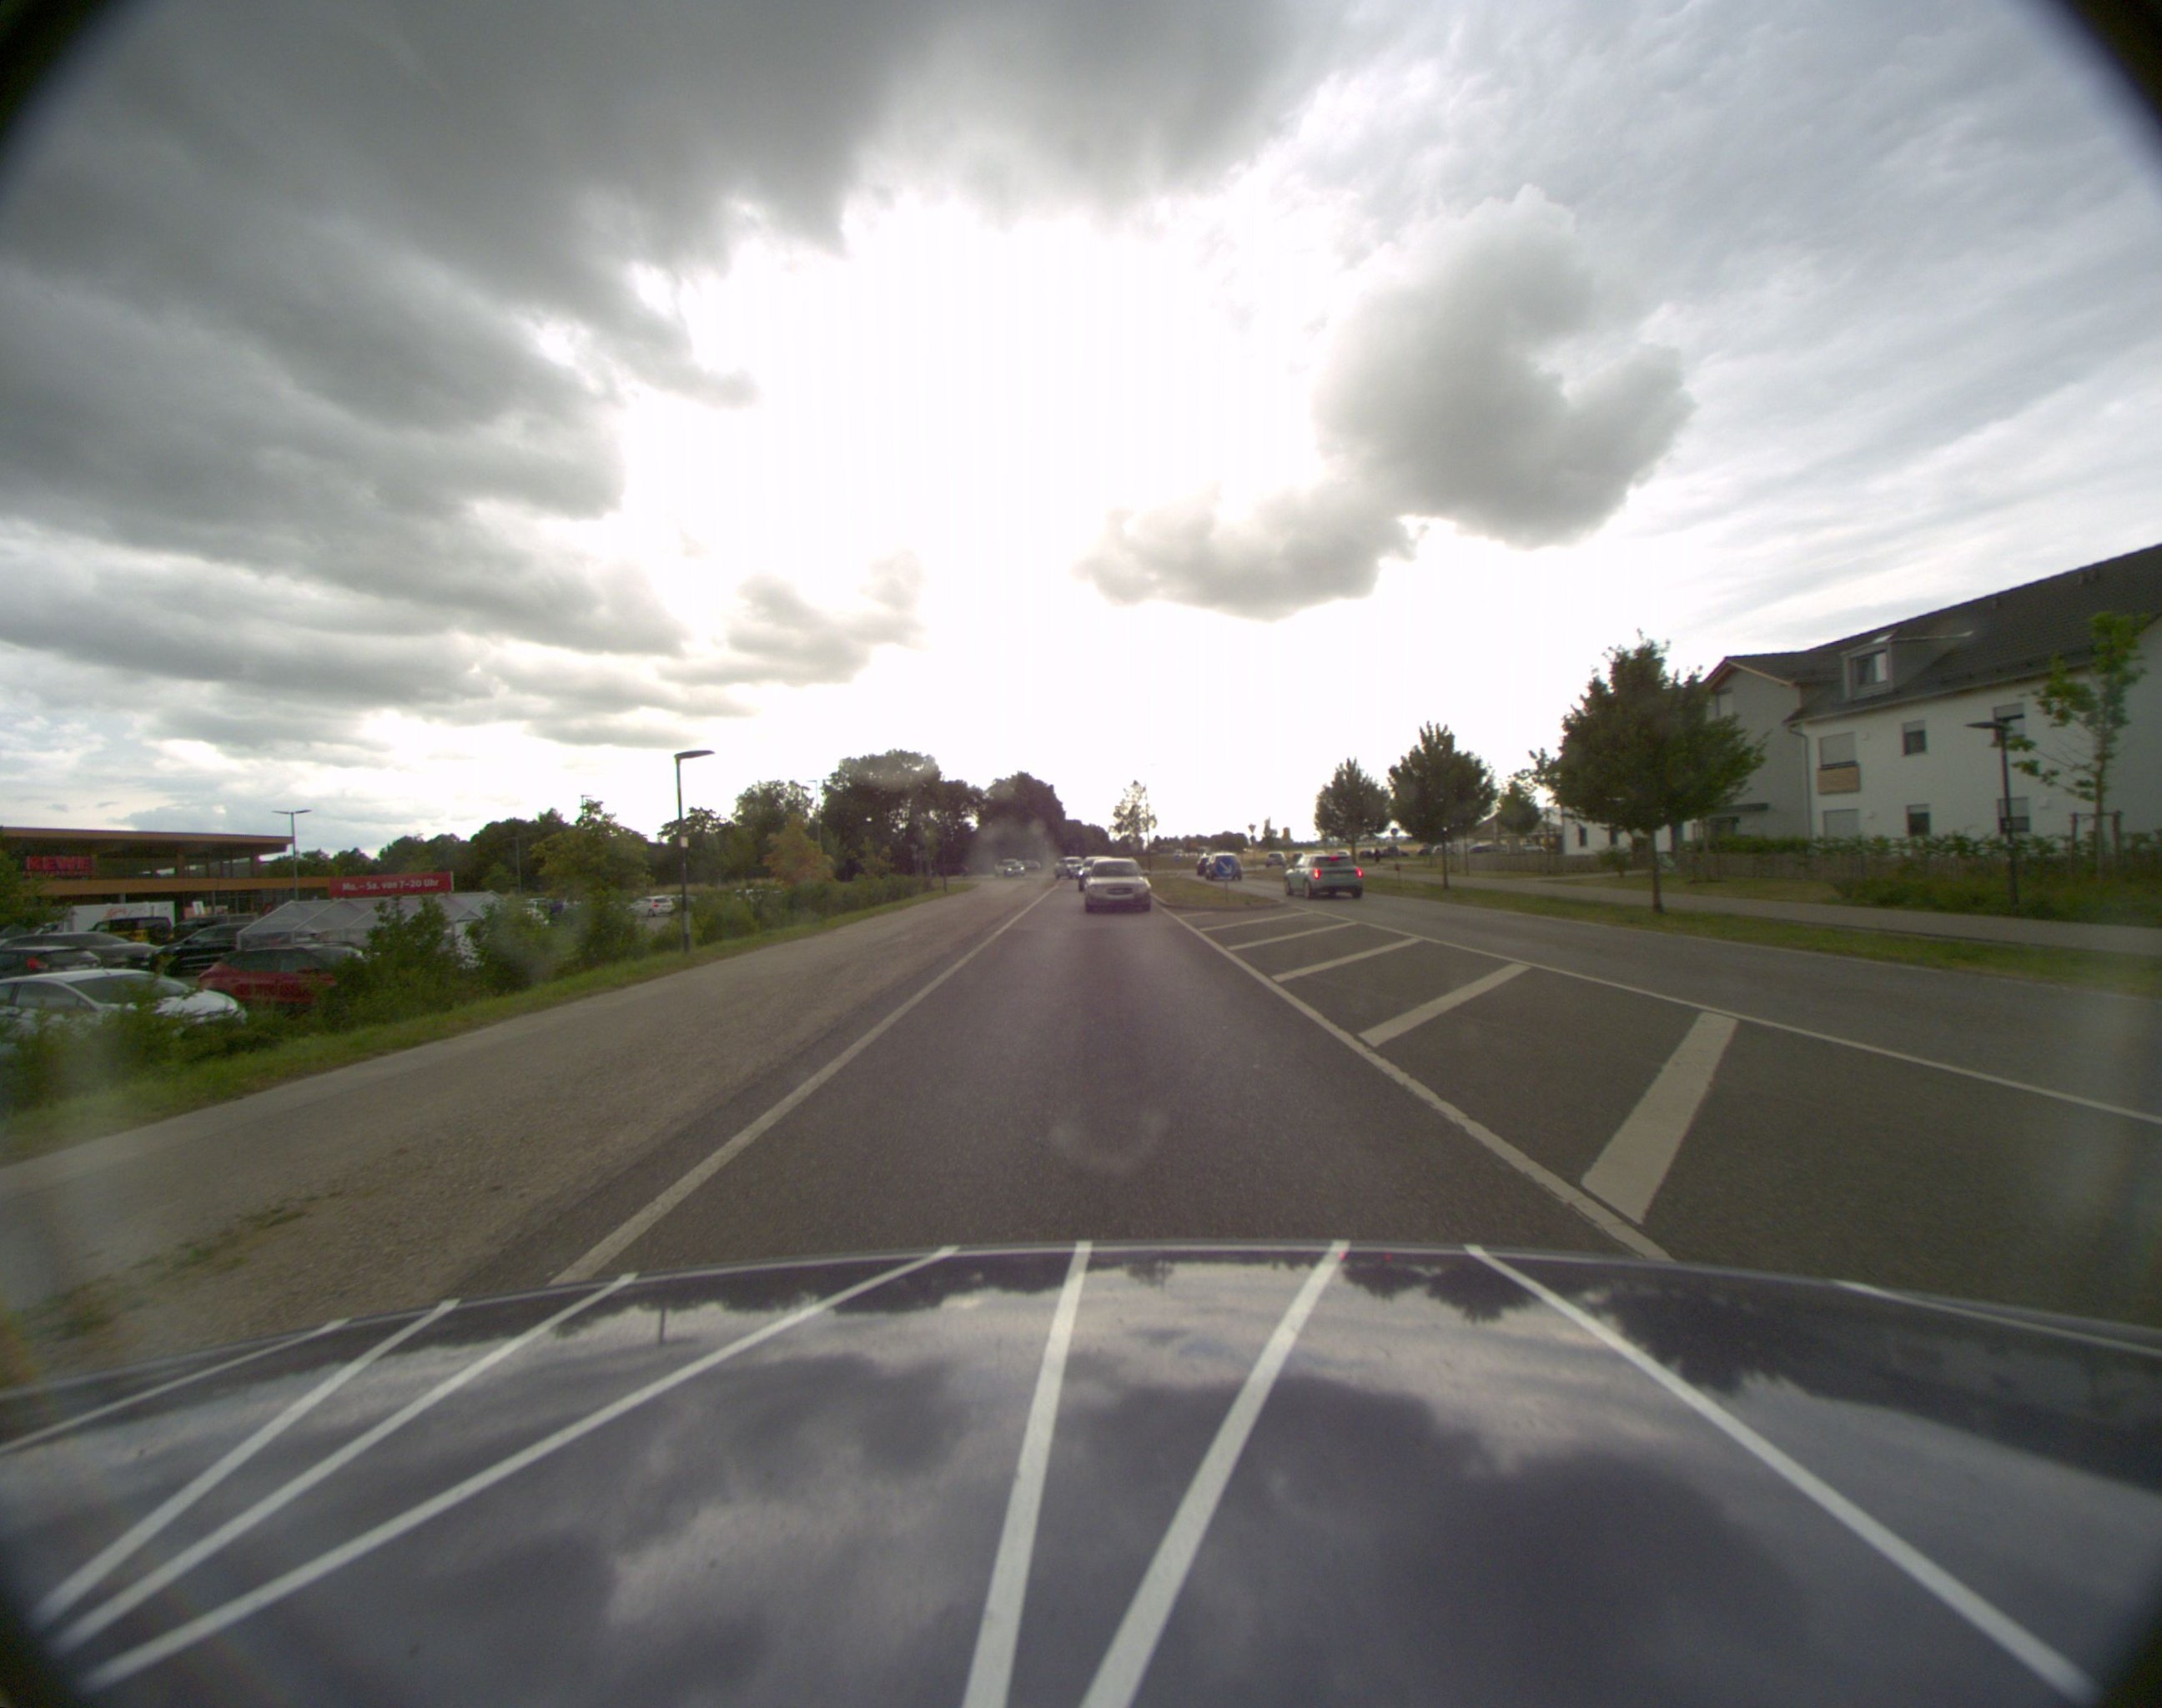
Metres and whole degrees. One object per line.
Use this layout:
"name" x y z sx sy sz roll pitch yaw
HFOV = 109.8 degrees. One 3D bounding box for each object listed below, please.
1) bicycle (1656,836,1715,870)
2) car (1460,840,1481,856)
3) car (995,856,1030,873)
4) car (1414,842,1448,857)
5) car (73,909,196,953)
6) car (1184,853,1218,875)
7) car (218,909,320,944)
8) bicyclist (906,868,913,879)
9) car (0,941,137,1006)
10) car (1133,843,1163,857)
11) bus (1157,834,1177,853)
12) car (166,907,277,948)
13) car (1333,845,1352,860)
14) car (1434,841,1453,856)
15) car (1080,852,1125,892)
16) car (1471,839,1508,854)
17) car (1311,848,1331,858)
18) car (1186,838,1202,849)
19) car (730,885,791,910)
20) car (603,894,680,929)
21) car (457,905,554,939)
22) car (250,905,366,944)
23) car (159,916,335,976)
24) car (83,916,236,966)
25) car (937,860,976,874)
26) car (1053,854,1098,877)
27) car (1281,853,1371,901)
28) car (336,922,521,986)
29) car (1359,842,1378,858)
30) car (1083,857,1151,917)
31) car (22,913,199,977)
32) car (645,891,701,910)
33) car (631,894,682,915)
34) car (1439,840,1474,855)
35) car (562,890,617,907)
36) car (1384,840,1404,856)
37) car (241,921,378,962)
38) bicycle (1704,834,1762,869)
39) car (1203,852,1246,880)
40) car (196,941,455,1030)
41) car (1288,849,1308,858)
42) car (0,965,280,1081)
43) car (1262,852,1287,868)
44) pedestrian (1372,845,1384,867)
"bicycle" 26.026 -0.026 32.758 0.684 1.404 2.344 -1 0 1
"car" 49.854 -0.771 97.127 2.226 2.002 4.007 -1 0 29
"car" -6.298 0.966 69.530 2.003 1.510 3.763 -1 0 -26
"car" 50.812 -0.652 110.289 4.001 2.002 1.998 -1 0 -11
"car" -48.107 3.881 38.679 3.995 2.002 2.001 -1 0 5
"car" 8.717 0.694 55.427 1.830 1.480 4.350 -1 0 1
"car" -48.361 4.312 45.301 3.995 1.837 2.072 -1 0 5
"bicyclist" -19.882 2.224 88.018 0.657 1.236 0.556 -1 0 41
"car" -29.385 3.341 21.010 3.997 1.433 2.000 -3 0 0
"car" 8.875 -0.523 100.455 1.994 1.674 4.008 -1 0 38
"bus" 15.030 -1.793 133.289 2.990 3.261 6.486 -1 0 3
"car" -47.578 4.042 42.105 3.995 2.002 2.072 -1 0 5
"car" 35.501 -0.189 102.995 1.995 2.002 4.007 -1 0 26
"car" 47.511 -0.715 99.427 1.995 2.002 4.007 -1 0 29
"car" 1.075 0.771 35.059 1.869 1.578 5.063 -3 0 3
"car" 55.516 -0.996 103.228 4.001 2.002 1.998 -1 0 -11
"car" 32.825 -0.130 103.986 1.995 1.280 4.007 -1 0 26
"car" 16.399 -1.519 110.874 1.774 1.435 4.000 -1 0 1
"car" -24.832 3.323 58.992 1.697 1.707 4.250 -1 0 28
"car" -25.878 3.357 44.799 3.390 1.696 1.802 -5 0 0
"car" -29.210 3.422 38.629 3.558 1.524 1.753 -1 0 0
"car" -40.770 3.705 40.143 4.269 1.860 2.001 -1 0 5
"car" -29.370 3.223 26.843 4.269 1.860 2.001 -1 0 5
"car" -38.607 3.630 31.902 4.269 1.860 2.001 -1 0 5
"car" -13.797 1.438 84.180 4.004 1.412 1.713 -1 0 -21
"car" -0.489 0.880 58.027 2.002 1.674 3.992 -1 0 -24
"car" 8.085 0.717 25.443 1.774 1.435 4.000 -1 0 1
"car" -18.512 2.818 21.692 3.766 1.529 1.676 -1 0 -1
"car" 38.232 -0.535 101.133 1.995 2.002 4.007 -1 0 26
"car" 1.069 0.860 21.581 1.700 1.457 4.001 -2 1 4
"car" -34.569 3.217 27.139 3.995 2.002 2.001 -1 0 5
"car" -35.082 3.951 65.437 1.697 1.352 4.007 -1 0 28
"car" -31.222 3.690 55.820 3.989 1.352 1.848 -1 0 38
"car" 53.019 -0.929 107.351 4.000 2.002 1.999 -1 0 -8
"car" -46.131 4.140 71.375 1.697 1.352 4.007 -1 0 28
"car" 40.993 -0.745 99.558 1.996 2.002 4.005 -1 0 16
"car" -33.588 3.788 33.147 4.127 1.543 2.001 -1 0 5
"bicycle" 27.838 -0.102 32.474 0.684 1.420 2.094 -1 0 1
"car" 8.467 0.681 45.063 1.830 1.573 4.216 -1 0 1
"car" -15.932 2.744 16.180 3.766 1.529 1.676 -1 0 -1
"car" 30.190 -0.071 105.502 1.995 1.280 4.007 -1 0 26
"car" -16.512 2.803 12.801 4.157 1.529 1.676 -1 0 -1
"car" 18.417 0.535 72.361 1.829 1.480 4.218 -1 0 7
"pedestrian" 21.322 0.143 54.626 0.547 1.521 0.586 -4 0 1
